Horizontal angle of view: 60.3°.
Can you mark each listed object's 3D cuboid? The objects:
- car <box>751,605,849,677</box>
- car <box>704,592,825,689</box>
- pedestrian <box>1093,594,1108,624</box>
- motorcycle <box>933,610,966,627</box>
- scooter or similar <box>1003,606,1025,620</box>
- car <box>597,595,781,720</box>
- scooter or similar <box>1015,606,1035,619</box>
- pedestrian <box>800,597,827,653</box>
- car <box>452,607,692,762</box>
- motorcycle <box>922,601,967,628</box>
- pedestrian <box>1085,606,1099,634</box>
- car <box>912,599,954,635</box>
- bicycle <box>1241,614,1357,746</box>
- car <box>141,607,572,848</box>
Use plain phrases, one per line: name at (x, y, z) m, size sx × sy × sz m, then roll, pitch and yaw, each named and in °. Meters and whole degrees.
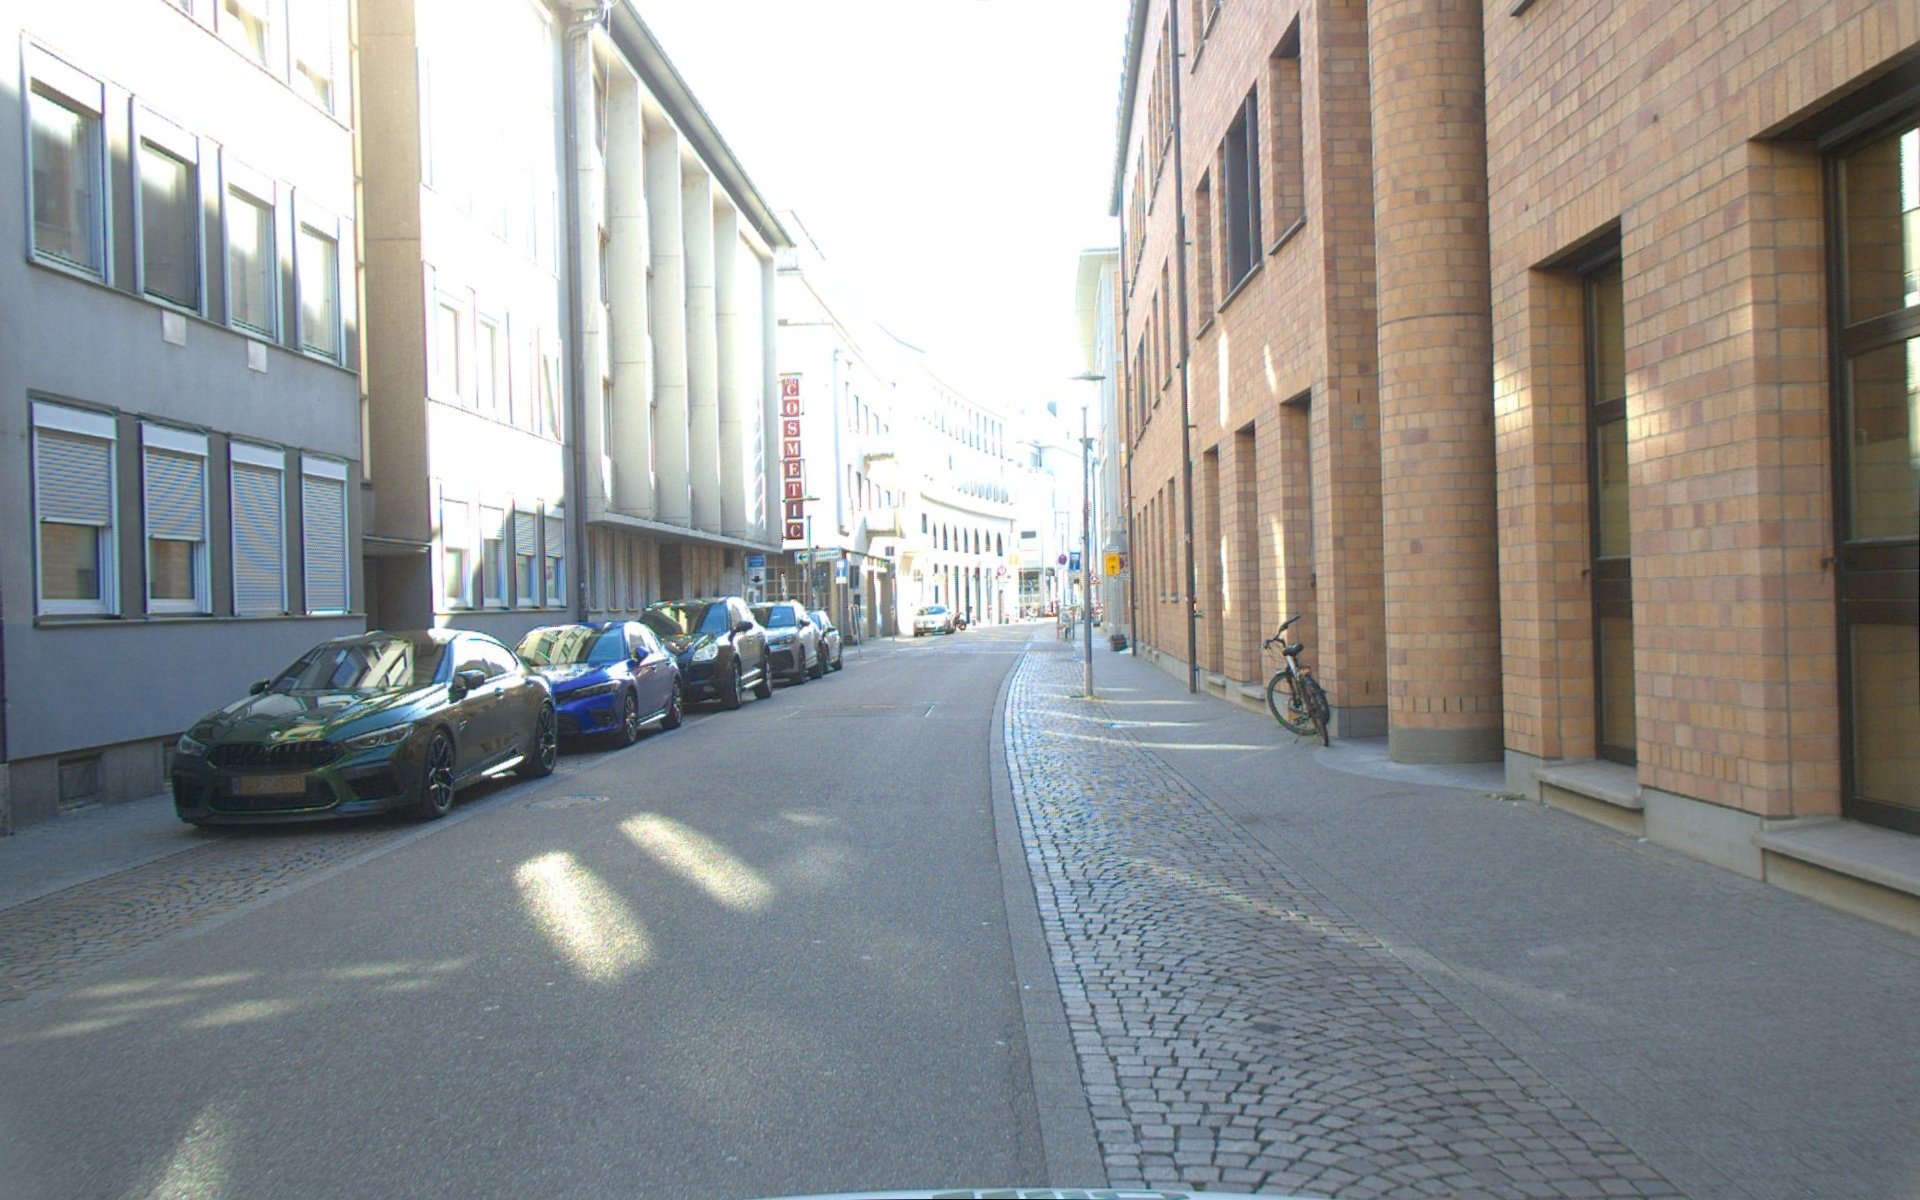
car at (-3.707, 0.922, 38.888) m, size 1.614 × 1.486 × 4.000 m, roll -4°, pitch 0°, yaw 3°
car at (-3.883, 0.756, 33.545) m, size 1.851 × 1.772 × 4.391 m, roll -2°, pitch 0°, yaw 0°
pedestrian at (9.046, 0.596, 106.648) m, size 0.651 × 1.901 × 0.754 m, roll 1°, pitch -1°, yaw -27°
motorcycle at (-0.543, 0.986, 86.546) m, size 1.655 × 0.874 × 0.595 m, roll 0°, pitch -1°, yaw 8°
scooter or similar at (3.979, 0.956, 121.737) m, size 0.516 × 0.944 × 2.221 m, roll -1°, pitch 0°, yaw 33°
car at (-4.149, 0.822, 26.074) m, size 1.850 × 1.705 × 4.555 m, roll -2°, pitch 0°, yaw 3°
scooter or similar at (4.932, 0.947, 125.309) m, size 0.516 × 0.944 × 2.221 m, roll -1°, pitch 0°, yaw 33°
pedestrian at (-4.365, 0.740, 49.358) m, size 0.640 × 1.654 × 0.451 m, roll -1°, pitch 0°, yaw -39°
car at (-4.531, 0.922, 19.991) m, size 1.851 × 1.556 × 4.339 m, roll -2°, pitch 0°, yaw 0°
motorcycle at (-0.840, 0.811, 90.395) m, size 2.341 × 1.340 × 0.862 m, roll -3°, pitch 0°, yaw 3°
pedestrian at (8.903, 1.361, 111.846) m, size 0.651 × 1.901 × 0.779 m, roll 1°, pitch -1°, yaw -27°
car at (-1.274, 0.779, 79.088) m, size 1.700 × 1.634 × 3.534 m, roll -1°, pitch 0°, yaw 4°
bicycle at (3.226, 0.728, 15.915) m, size 0.539 × 1.122 × 1.981 m, roll -5°, pitch 0°, yaw -3°
car at (-4.757, 0.895, 13.879) m, size 1.851 × 1.556 × 4.728 m, roll -2°, pitch 0°, yaw 0°
